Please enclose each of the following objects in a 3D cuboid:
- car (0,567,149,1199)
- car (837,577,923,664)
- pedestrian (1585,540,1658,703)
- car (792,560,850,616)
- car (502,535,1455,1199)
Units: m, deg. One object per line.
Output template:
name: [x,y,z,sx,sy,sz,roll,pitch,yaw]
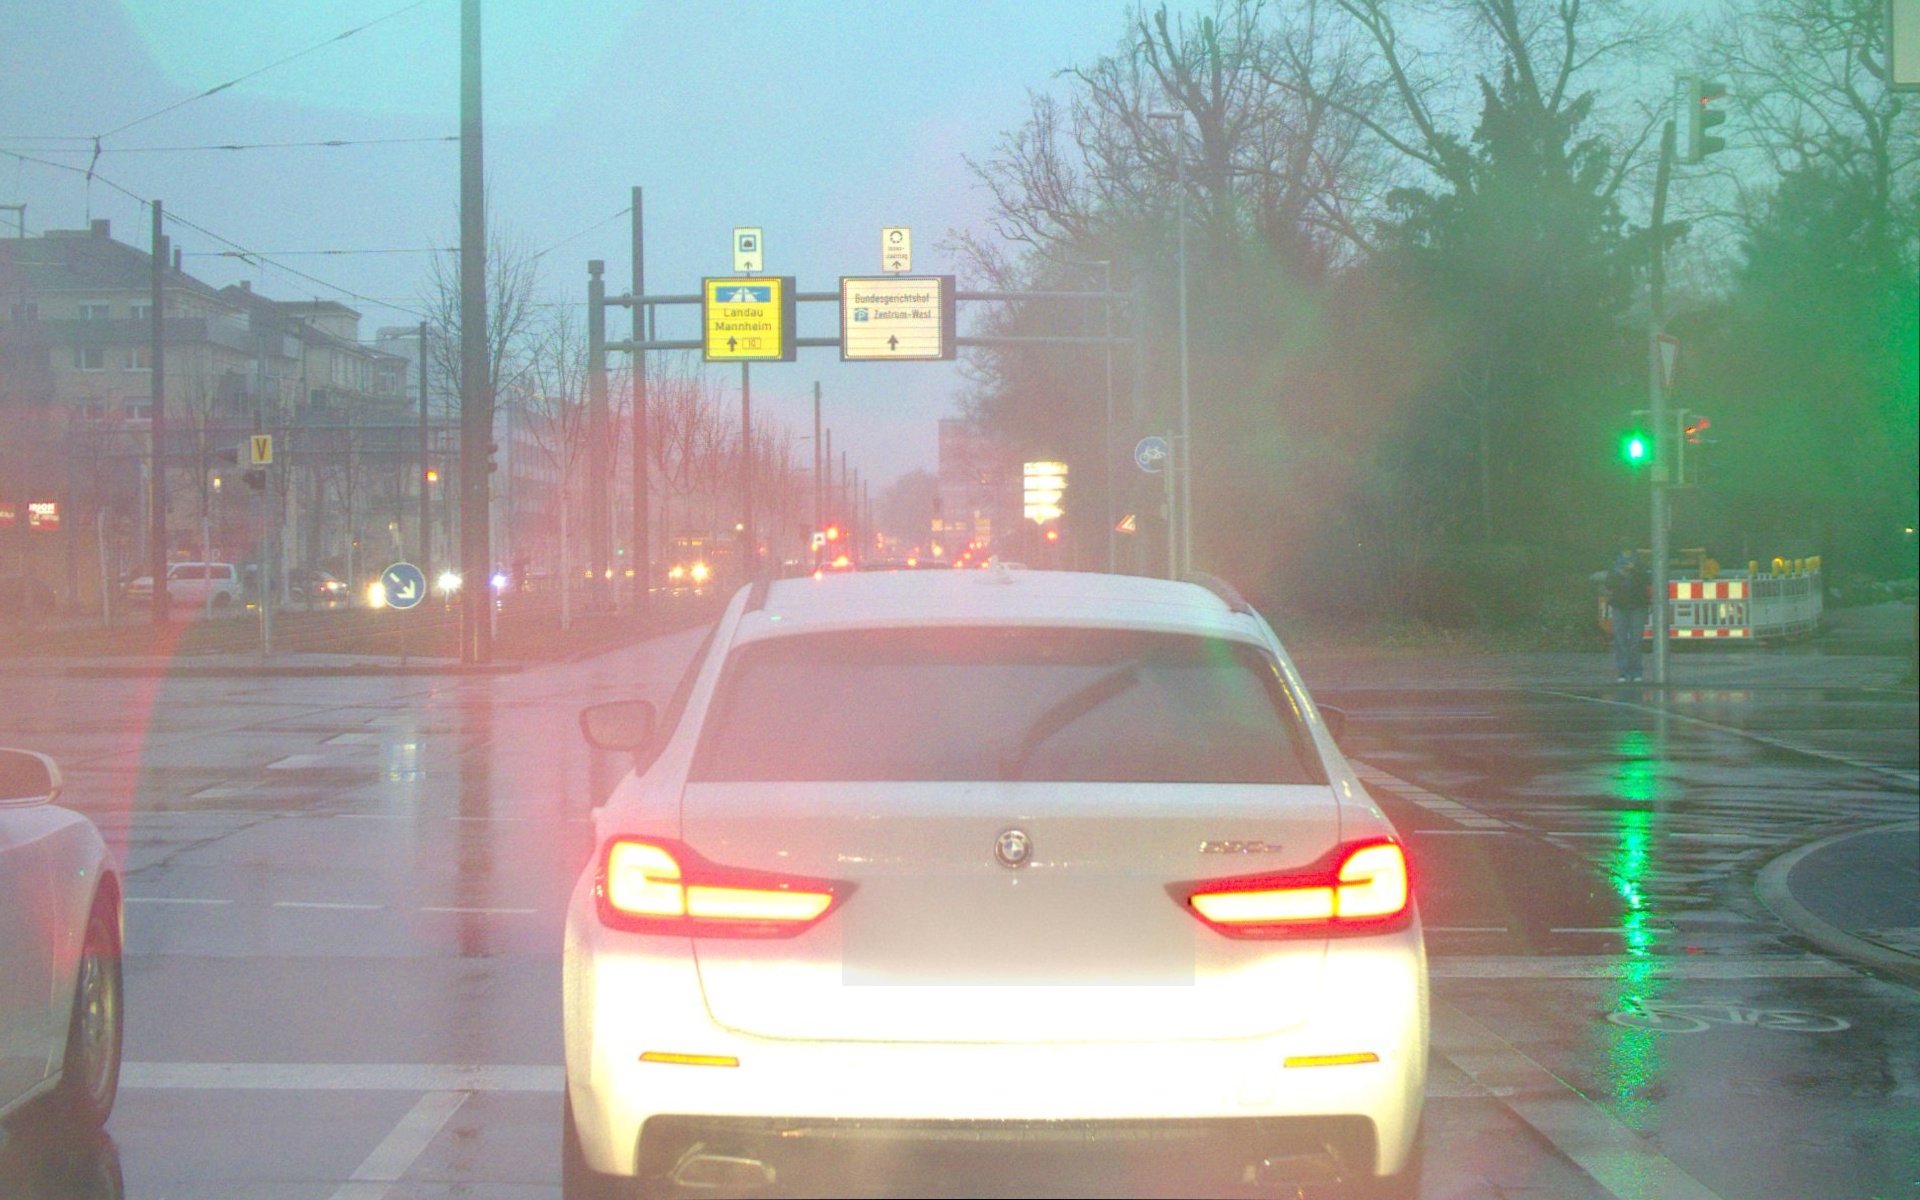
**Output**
car: [-2.962,0.658,7.056,1.759,1.464,4.252,1,1,-3]
car: [-1.901,0.460,82.500,1.993,2.007,4.000,1,1,-1]
pedestrian: [7.695,0.244,39.996,0.673,1.873,0.715,1,0,-1]
car: [-5.118,-0.467,127.145,1.993,2.007,4.000,1,1,-1]
car: [-0.062,0.644,8.526,1.759,1.547,4.252,1,1,-3]
